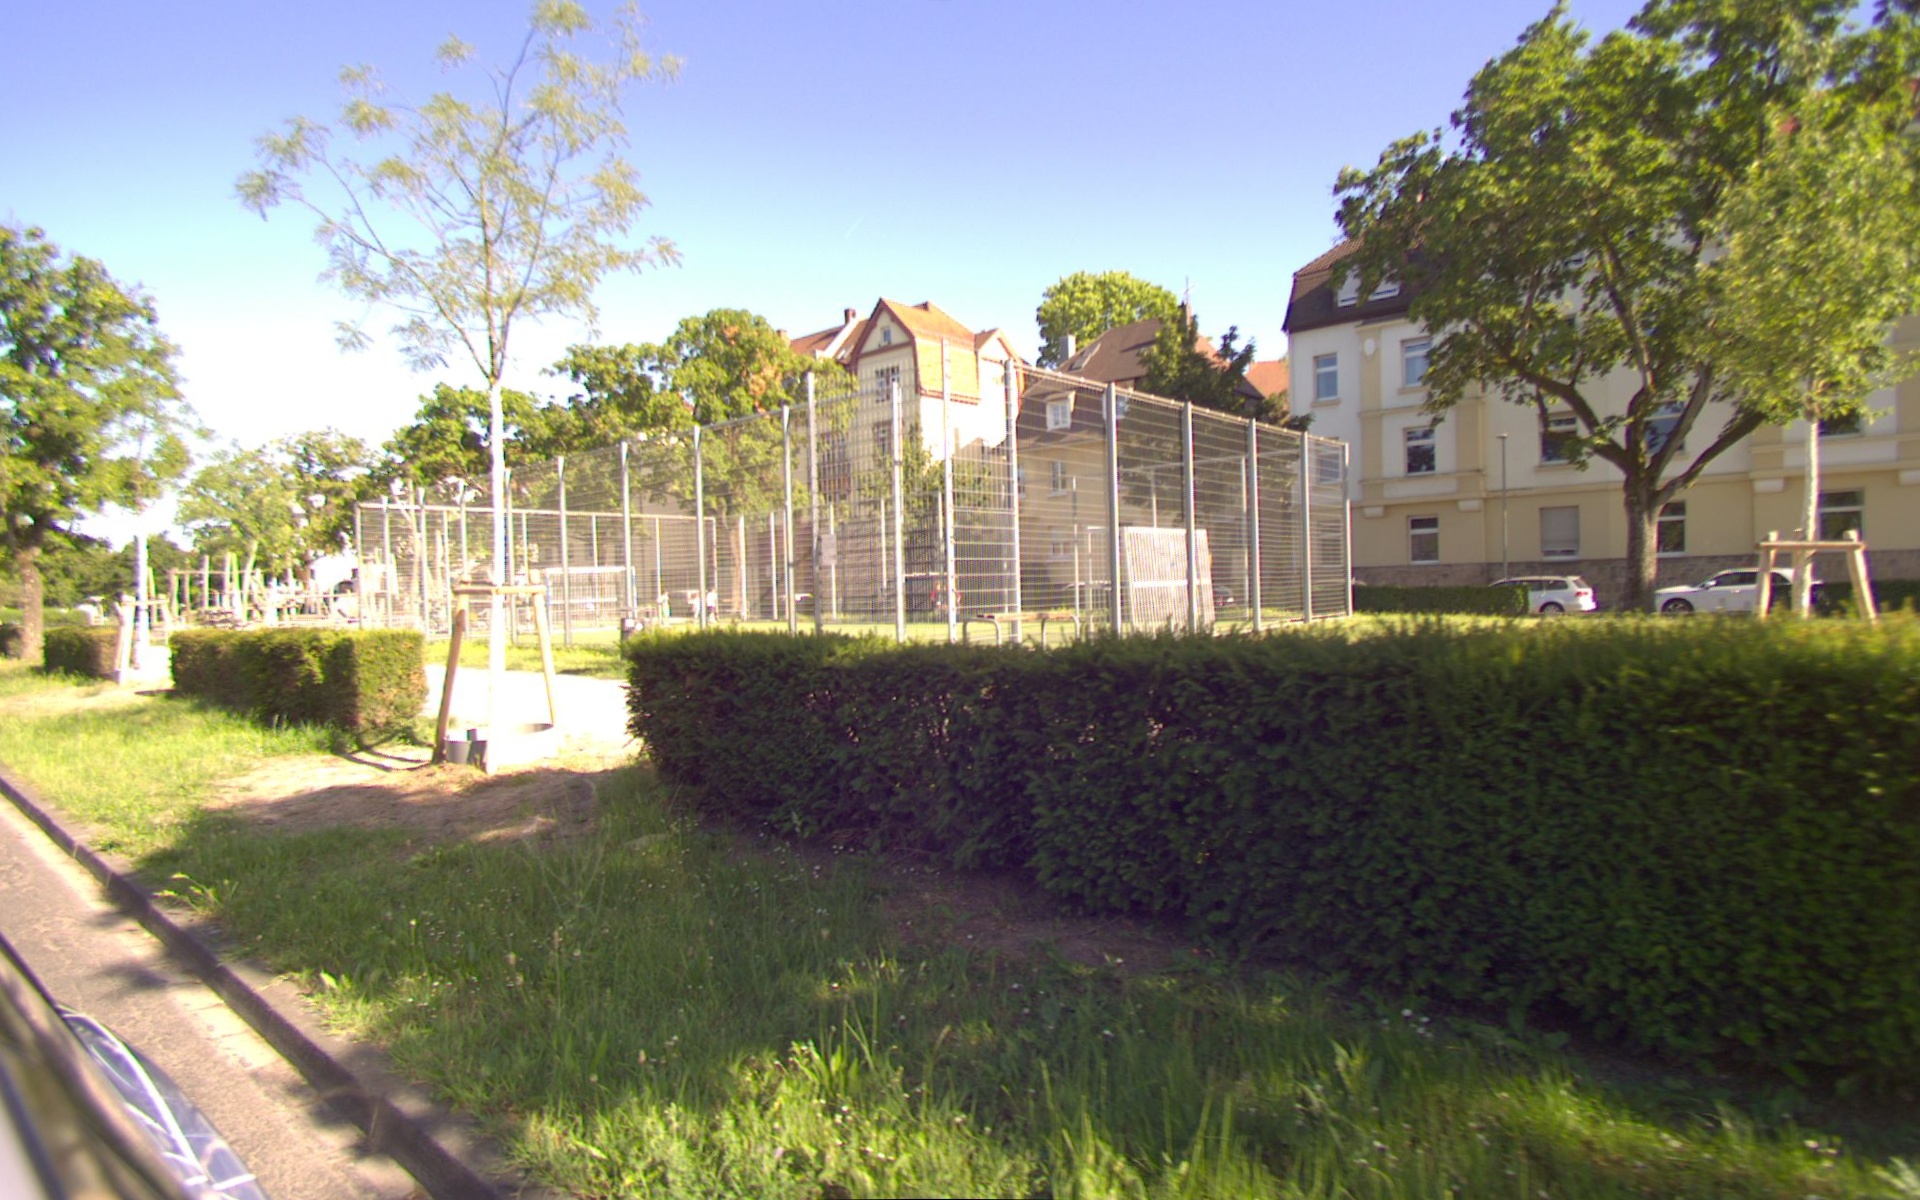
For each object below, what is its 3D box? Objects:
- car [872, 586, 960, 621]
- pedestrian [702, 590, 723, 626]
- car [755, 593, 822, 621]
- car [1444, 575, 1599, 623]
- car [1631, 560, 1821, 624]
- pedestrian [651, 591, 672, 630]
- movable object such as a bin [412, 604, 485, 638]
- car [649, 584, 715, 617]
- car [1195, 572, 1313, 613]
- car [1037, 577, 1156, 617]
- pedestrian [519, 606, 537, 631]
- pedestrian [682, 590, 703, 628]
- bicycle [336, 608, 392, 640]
[{"bbox_3d":[-2.088,0.175,47.250,3.998,1.521,1.776,-1,1,41],"label":"car"},{"bbox_3d":[-9.184,0.291,37.569,0.639,1.328,0.652,-2,1,-20],"label":"pedestrian"},{"bbox_3d":[-10.219,0.427,60.038,3.998,1.521,1.776,-1,1,41],"label":"car"},{"bbox_3d":[19.082,-0.014,34.516,4.345,1.521,1.776,-1,1,41],"label":"car"},{"bbox_3d":[23.254,-0.220,30.806,4.486,1.790,1.776,-1,1,41],"label":"car"},{"bbox_3d":[-10.528,0.352,35.665,0.639,1.328,0.652,-2,1,-20],"label":"pedestrian"},{"bbox_3d":[-19.955,0.792,39.537,1.054,1.251,2.309,-2,0,37],"label":"movable object such as a bin"},{"bbox_3d":[-18.386,0.057,66.855,4.833,1.997,1.776,-1,1,41],"label":"car"},{"bbox_3d":[11.854,-0.288,40.957,4.229,1.521,1.776,-1,1,41],"label":"car"},{"bbox_3d":[6.130,-0.130,45.864,5.180,1.664,1.862,-1,1,41],"label":"car"},{"bbox_3d":[-23.249,1.002,54.491,0.649,1.328,0.642,-1,1,38],"label":"pedestrian"},{"bbox_3d":[-9.553,0.320,36.127,0.639,1.328,0.652,-2,1,-20],"label":"pedestrian"},{"bbox_3d":[-22.738,0.907,38.635,0.499,1.116,1.777,-2,1,39],"label":"bicycle"}]
